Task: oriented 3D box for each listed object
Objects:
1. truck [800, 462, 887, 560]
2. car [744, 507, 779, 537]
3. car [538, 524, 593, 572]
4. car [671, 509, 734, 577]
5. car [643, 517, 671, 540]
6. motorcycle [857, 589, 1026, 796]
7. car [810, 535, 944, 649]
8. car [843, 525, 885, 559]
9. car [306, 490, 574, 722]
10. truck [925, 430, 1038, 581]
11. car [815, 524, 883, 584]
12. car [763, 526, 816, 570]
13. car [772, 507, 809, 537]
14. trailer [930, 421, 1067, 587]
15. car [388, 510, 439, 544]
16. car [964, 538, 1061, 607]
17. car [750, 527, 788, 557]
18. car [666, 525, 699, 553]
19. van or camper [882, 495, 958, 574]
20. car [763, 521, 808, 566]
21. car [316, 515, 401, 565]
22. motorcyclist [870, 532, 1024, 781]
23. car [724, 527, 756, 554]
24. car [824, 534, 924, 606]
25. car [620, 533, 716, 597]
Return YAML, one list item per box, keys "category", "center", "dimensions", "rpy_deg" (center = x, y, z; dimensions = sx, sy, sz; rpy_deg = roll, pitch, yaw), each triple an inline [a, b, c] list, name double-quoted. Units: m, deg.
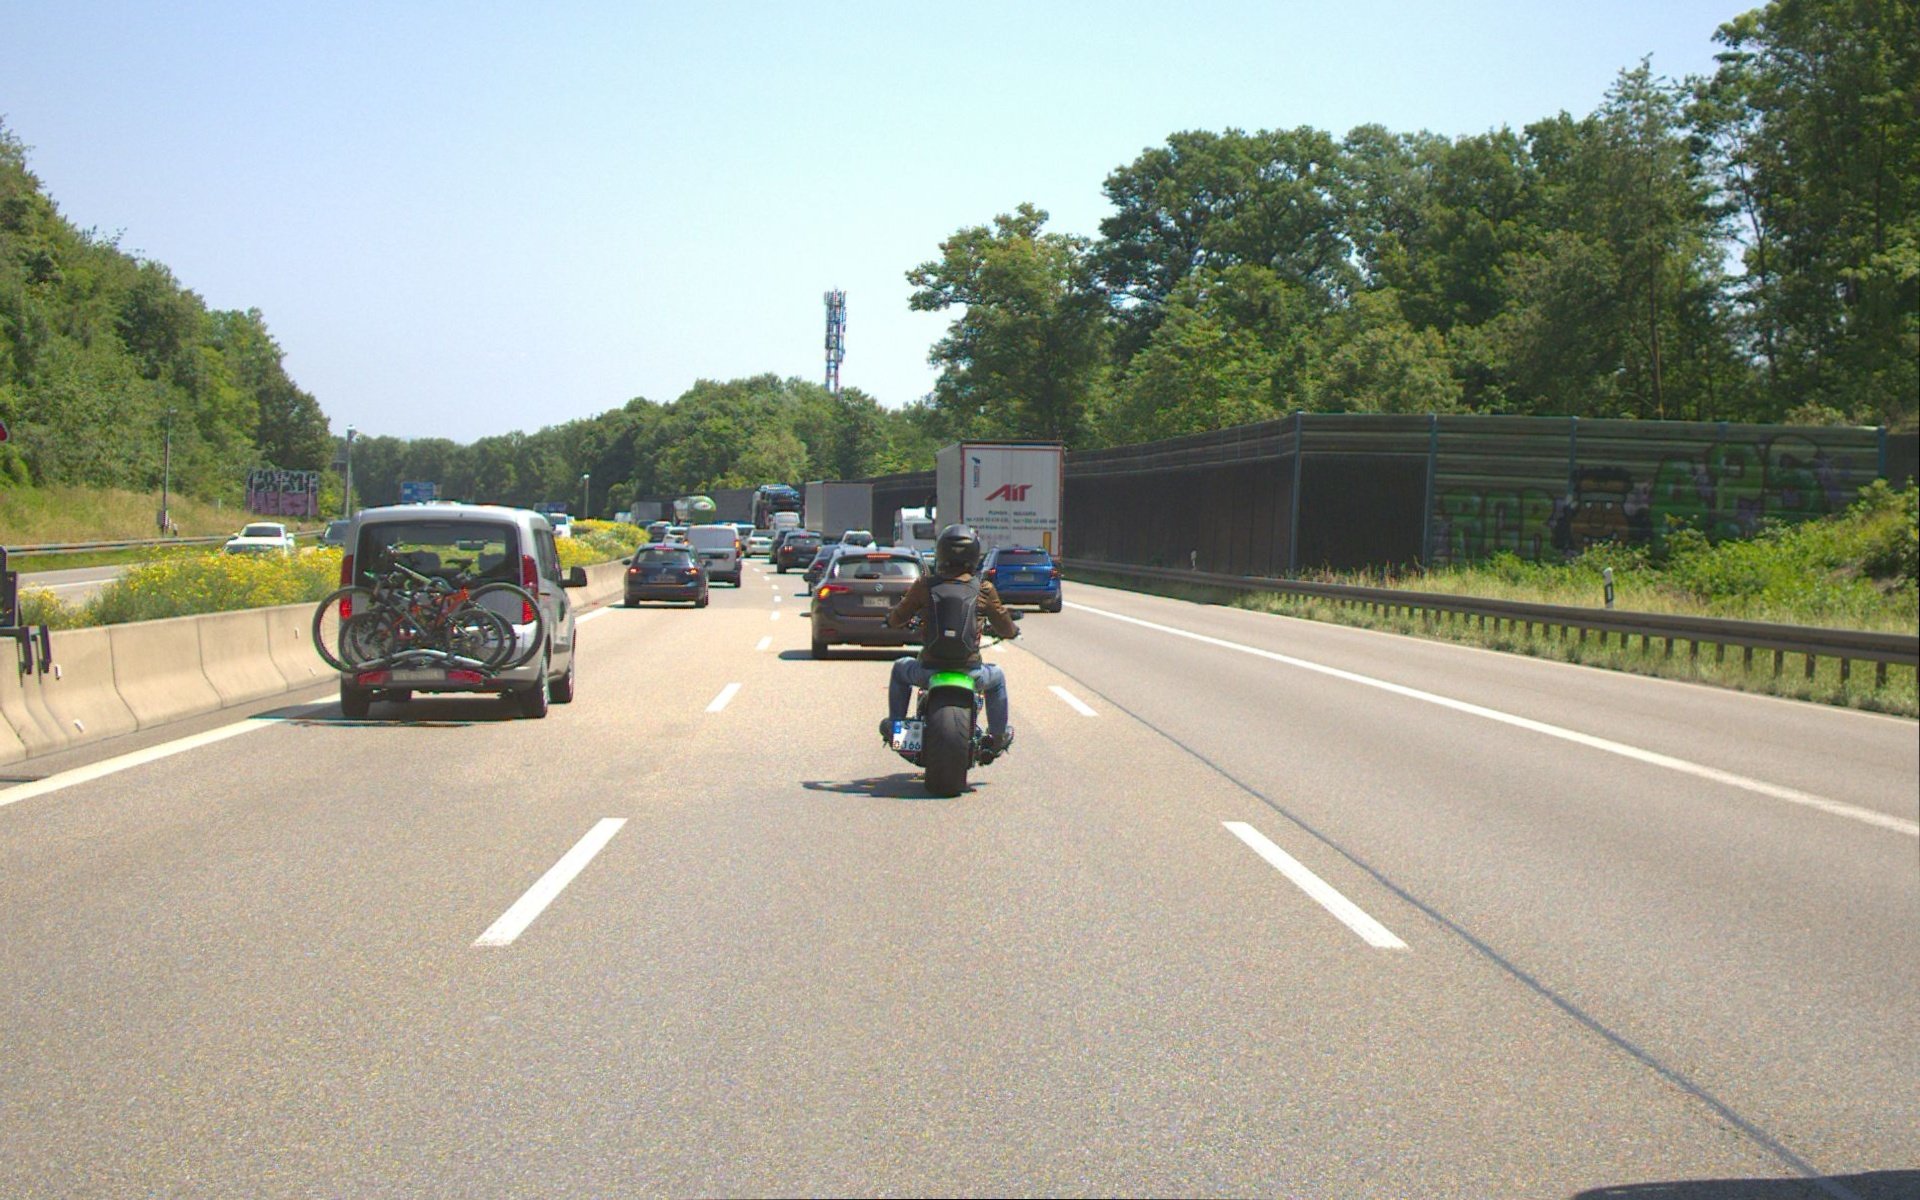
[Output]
- category: "truck"
  center: [-6.225, -4.677, 182.221]
  dimensions: [3.802, 4.943, 8.952]
  rpy_deg: [1, 0, -7]
- category: "car"
  center: [-13.027, -5.094, 225.705]
  dimensions: [2.107, 1.870, 4.001]
  rpy_deg: [1, 0, -6]
- category: "car"
  center: [-17.247, -2.273, 150.394]
  dimensions: [1.993, 2.007, 4.421]
  rpy_deg: [1, 0, -1]
- category: "car"
  center: [-7.807, -1.720, 104.463]
  dimensions: [1.791, 2.007, 3.642]
  rpy_deg: [1, 0, -3]
- category: "car"
  center: [-20.934, -4.962, 237.571]
  dimensions: [1.832, 1.491, 3.744]
  rpy_deg: [1, 0, -6]
- category: "motorcycle"
  center: [-0.090, 0.539, 21.677]
  dimensions: [0.964, 1.144, 2.812]
  rpy_deg: [1, 1, 1]
- category: "car"
  center: [-1.154, -0.113, 46.252]
  dimensions: [1.662, 1.448, 3.869]
  rpy_deg: [1, 0, -3]
- category: "car"
  center: [-4.769, -2.866, 170.318]
  dimensions: [1.993, 1.568, 4.000]
  rpy_deg: [1, 0, -3]
- category: "car"
  center: [-4.487, 0.040, 30.253]
  dimensions: [1.899, 1.867, 4.413]
  rpy_deg: [1, 0, -3]
- category: "truck"
  center: [0.572, -2.689, 98.204]
  dimensions: [2.885, 4.132, 5.987]
  rpy_deg: [1, 1, -2]
- category: "car"
  center: [-2.988, -1.219, 92.768]
  dimensions: [1.779, 1.547, 3.585]
  rpy_deg: [1, 0, -1]
- category: "car"
  center: [-6.663, -2.016, 134.205]
  dimensions: [1.993, 1.634, 4.000]
  rpy_deg: [1, 0, -3]
- category: "car"
  center: [-10.893, -4.993, 220.348]
  dimensions: [2.107, 1.870, 4.001]
  rpy_deg: [1, 0, -6]
- category: "trailer"
  center: [0.885, -2.511, 91.378]
  dimensions: [2.885, 4.024, 13.797]
  rpy_deg: [1, 1, -2]
- category: "car"
  center: [-26.860, -3.583, 168.988]
  dimensions: [1.993, 1.611, 4.484]
  rpy_deg: [1, 1, -3]
- category: "car"
  center: [1.141, -0.604, 76.746]
  dimensions: [1.650, 1.477, 4.482]
  rpy_deg: [1, 0, -5]
- category: "car"
  center: [-9.889, -3.006, 177.791]
  dimensions: [1.832, 1.491, 3.744]
  rpy_deg: [1, 0, -4]
- category: "car"
  center: [-15.687, -3.452, 194.352]
  dimensions: [1.832, 1.491, 3.744]
  rpy_deg: [1, 0, -4]
- category: "van or camper"
  center: [-1.544, -2.426, 129.279]
  dimensions: [2.685, 2.803, 6.803]
  rpy_deg: [1, 0, -2]
- category: "car"
  center: [-8.059, -2.609, 158.911]
  dimensions: [1.911, 2.007, 3.691]
  rpy_deg: [1, 0, -5]
- category: "car"
  center: [-18.725, -1.843, 107.156]
  dimensions: [1.993, 1.481, 4.000]
  rpy_deg: [1, 0, -1]
- category: "motorcyclist"
  center: [-0.060, 0.335, 21.409]
  dimensions: [0.899, 1.470, 1.872]
  rpy_deg: [1, 0, 1]
- category: "car"
  center: [-12.720, -3.424, 198.704]
  dimensions: [1.832, 1.491, 3.744]
  rpy_deg: [1, 0, -4]
- category: "car"
  center: [-1.806, -0.608, 71.426]
  dimensions: [1.993, 1.425, 3.847]
  rpy_deg: [1, 0, -2]
- category: "car"
  center: [-6.530, -0.776, 77.185]
  dimensions: [1.993, 1.382, 4.000]
  rpy_deg: [1, 0, -3]
